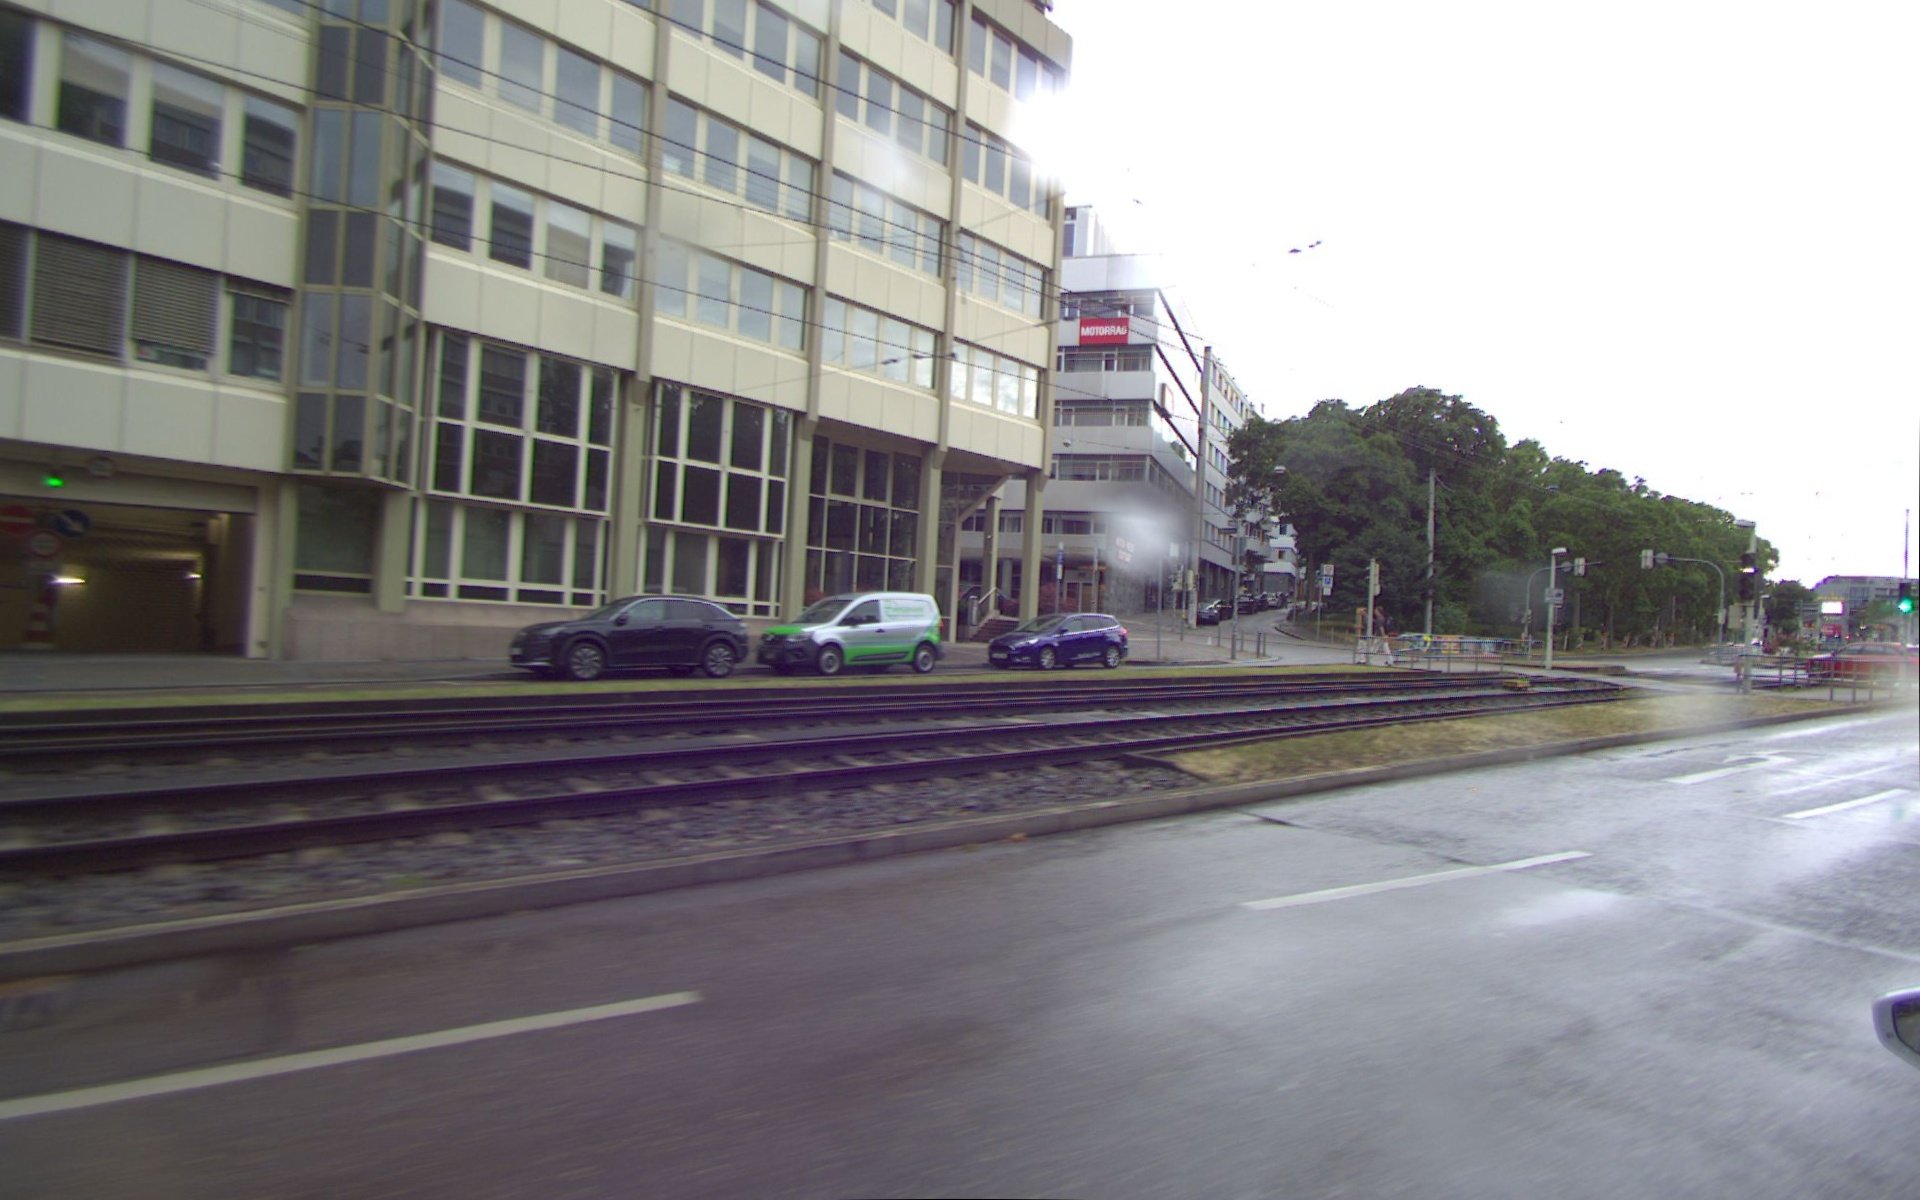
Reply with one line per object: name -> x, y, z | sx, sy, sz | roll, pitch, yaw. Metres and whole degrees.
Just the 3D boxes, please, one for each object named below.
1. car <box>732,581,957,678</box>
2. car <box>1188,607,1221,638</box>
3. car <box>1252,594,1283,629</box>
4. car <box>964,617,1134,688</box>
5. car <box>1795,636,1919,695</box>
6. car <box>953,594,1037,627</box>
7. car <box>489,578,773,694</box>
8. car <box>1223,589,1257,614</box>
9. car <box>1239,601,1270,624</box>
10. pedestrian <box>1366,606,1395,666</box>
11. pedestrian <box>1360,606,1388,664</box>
car -> -2.459, 0.683, 22.256 | 4.665, 1.874, 1.974 | 4, 0, -44
car -> 16.144, 1.474, 66.294 | 1.960, 1.817, 4.002 | 4, 0, 13
car -> 29.064, 1.123, 94.880 | 1.962, 3.037, 4.206 | 4, 0, 26
car -> 2.449, 1.398, 26.694 | 4.520, 1.603, 1.974 | 4, 0, -44
car -> 30.977, 2.195, 33.798 | 1.948, 1.661, 4.416 | 4, 0, 0
car -> 1.798, 0.542, 50.932 | 3.919, 1.383, 1.831 | 4, 0, 10
car -> -6.124, 0.688, 19.064 | 4.665, 1.874, 1.974 | 4, 0, -44
car -> 22.972, 0.158, 82.318 | 1.962, 1.817, 4.208 | 4, 0, 24
car -> 26.422, 1.134, 90.053 | 1.962, 1.817, 4.206 | 4, 0, 26
pedestrian -> 13.170, 1.117, 31.444 | 0.629, 1.811, 0.809 | 4, 0, 30
pedestrian -> 13.469, 1.134, 32.698 | 0.629, 1.811, 0.809 | 4, 0, 30
